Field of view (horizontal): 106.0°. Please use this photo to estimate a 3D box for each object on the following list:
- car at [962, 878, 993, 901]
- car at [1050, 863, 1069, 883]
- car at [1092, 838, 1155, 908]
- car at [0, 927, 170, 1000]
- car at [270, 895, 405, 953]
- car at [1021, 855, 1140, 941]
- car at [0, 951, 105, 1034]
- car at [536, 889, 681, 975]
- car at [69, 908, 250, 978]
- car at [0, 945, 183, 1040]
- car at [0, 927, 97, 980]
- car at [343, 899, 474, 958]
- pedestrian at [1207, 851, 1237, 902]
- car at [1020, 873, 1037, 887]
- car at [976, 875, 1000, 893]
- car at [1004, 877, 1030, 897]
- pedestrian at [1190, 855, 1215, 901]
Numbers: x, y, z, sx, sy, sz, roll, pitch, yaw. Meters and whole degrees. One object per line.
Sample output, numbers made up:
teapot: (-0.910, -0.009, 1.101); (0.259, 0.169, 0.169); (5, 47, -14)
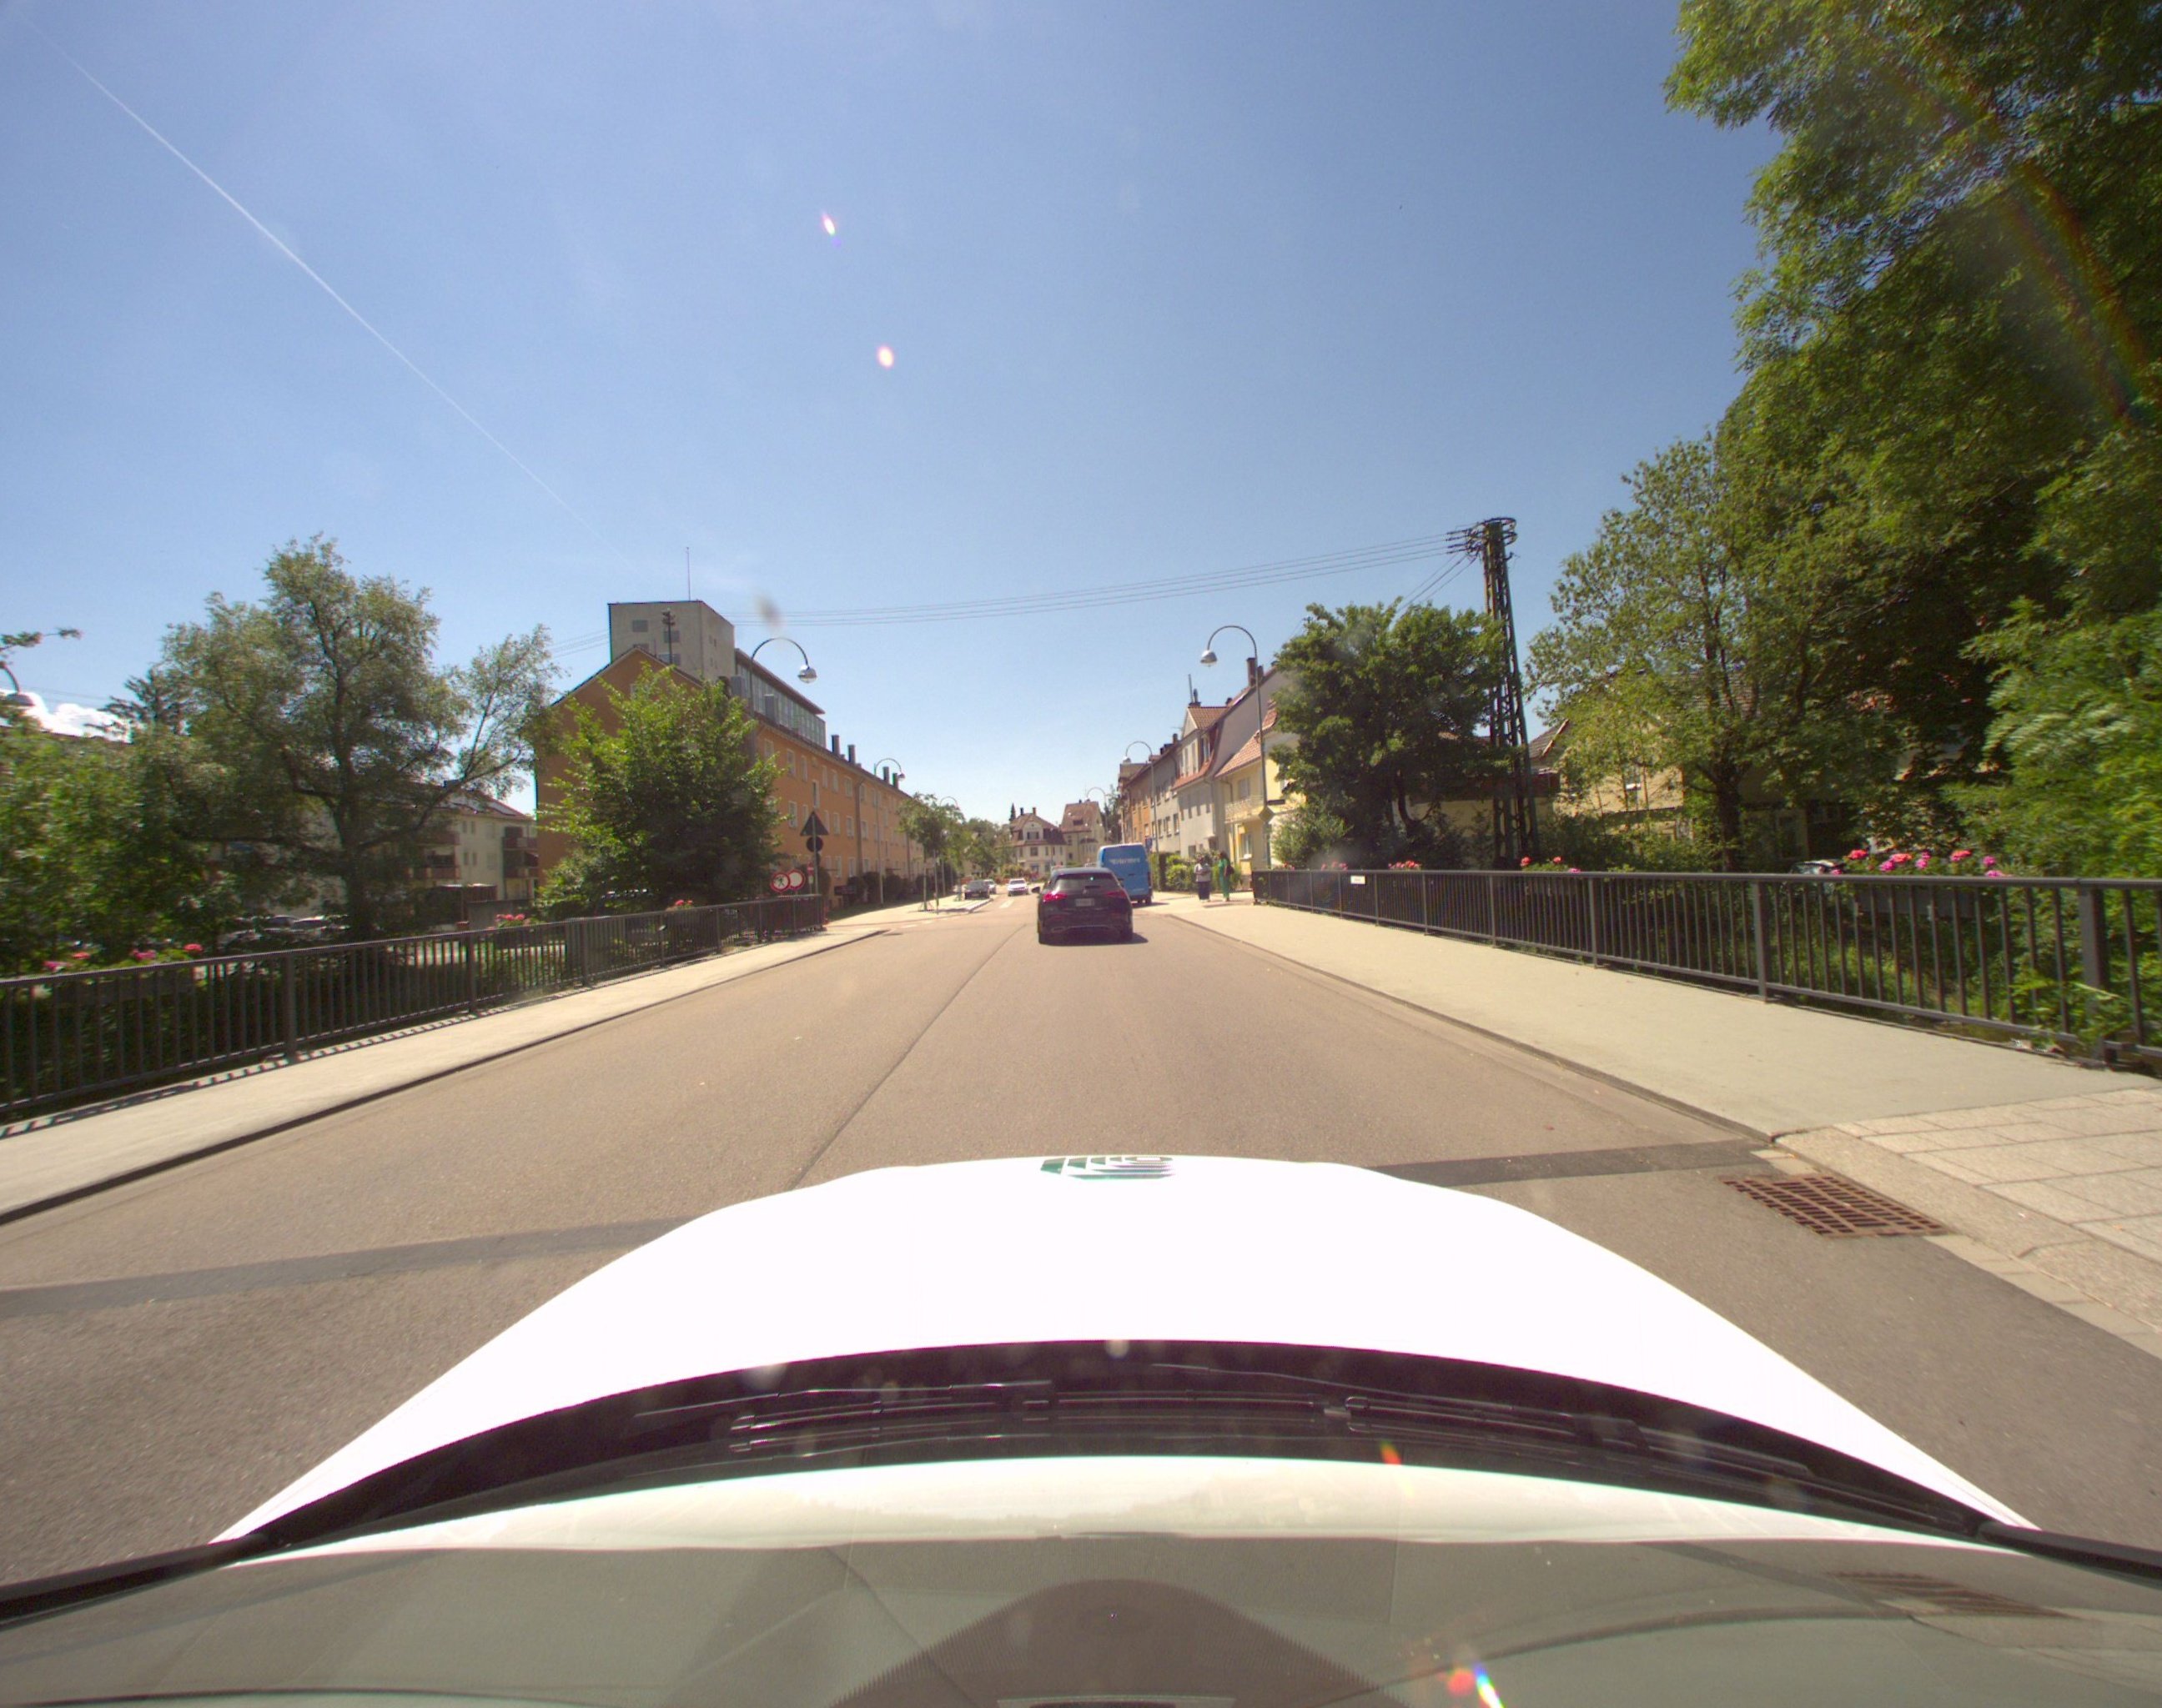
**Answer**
car: (-8.088, 2.761, 63.749); (1.988, 1.660, 3.997); (-1, -1, -2)
car: (-2.694, 2.303, 101.412); (2.239, 2.343, 4.849); (-3, -1, -2)
car: (1.631, 0.776, 33.310); (2.127, 2.541, 4.646); (-3, -1, -1)
car: (-35.293, 3.780, 28.656); (1.989, 2.013, 3.995); (-3, -1, -3)
car: (-30.662, 2.814, 33.790); (1.990, 2.014, 3.994); (-3, -1, -4)
car: (-0.141, 0.932, 16.730); (1.827, 1.442, 3.987); (-4, -4, -8)
car: (-30.816, 4.005, 22.909); (1.990, 2.014, 3.993); (-3, -1, -4)
car: (-13.700, 2.176, 23.937); (1.990, 2.013, 3.995); (-3, 0, -4)
car: (-32.813, 3.113, 29.211); (1.990, 2.014, 3.994); (-3, -1, -4)
car: (-28.531, 3.843, 22.996); (1.990, 2.013, 3.993); (-3, -1, -5)
car: (-41.016, 3.865, 31.492); (2.001, 1.684, 3.972); (-3, 0, -20)
car: (-27.627, 3.004, 33.651); (1.987, 2.013, 3.999); (-3, 0, 0)
pedestrian: (4.944, 0.788, 28.582); (0.662, 1.741, 0.697); (-3, -1, -19)
car: (-6.498, 3.209, 100.919); (1.988, 1.660, 3.997); (-1, -1, -2)
car: (-9.178, 2.951, 80.564); (1.988, 1.660, 3.997); (-1, -1, -2)
car: (-5.543, 2.838, 70.849); (1.988, 1.660, 3.997); (-1, -1, -2)
pedestrian: (4.388, 0.869, 29.492); (0.613, 1.612, 0.836); (-3, -1, -7)
